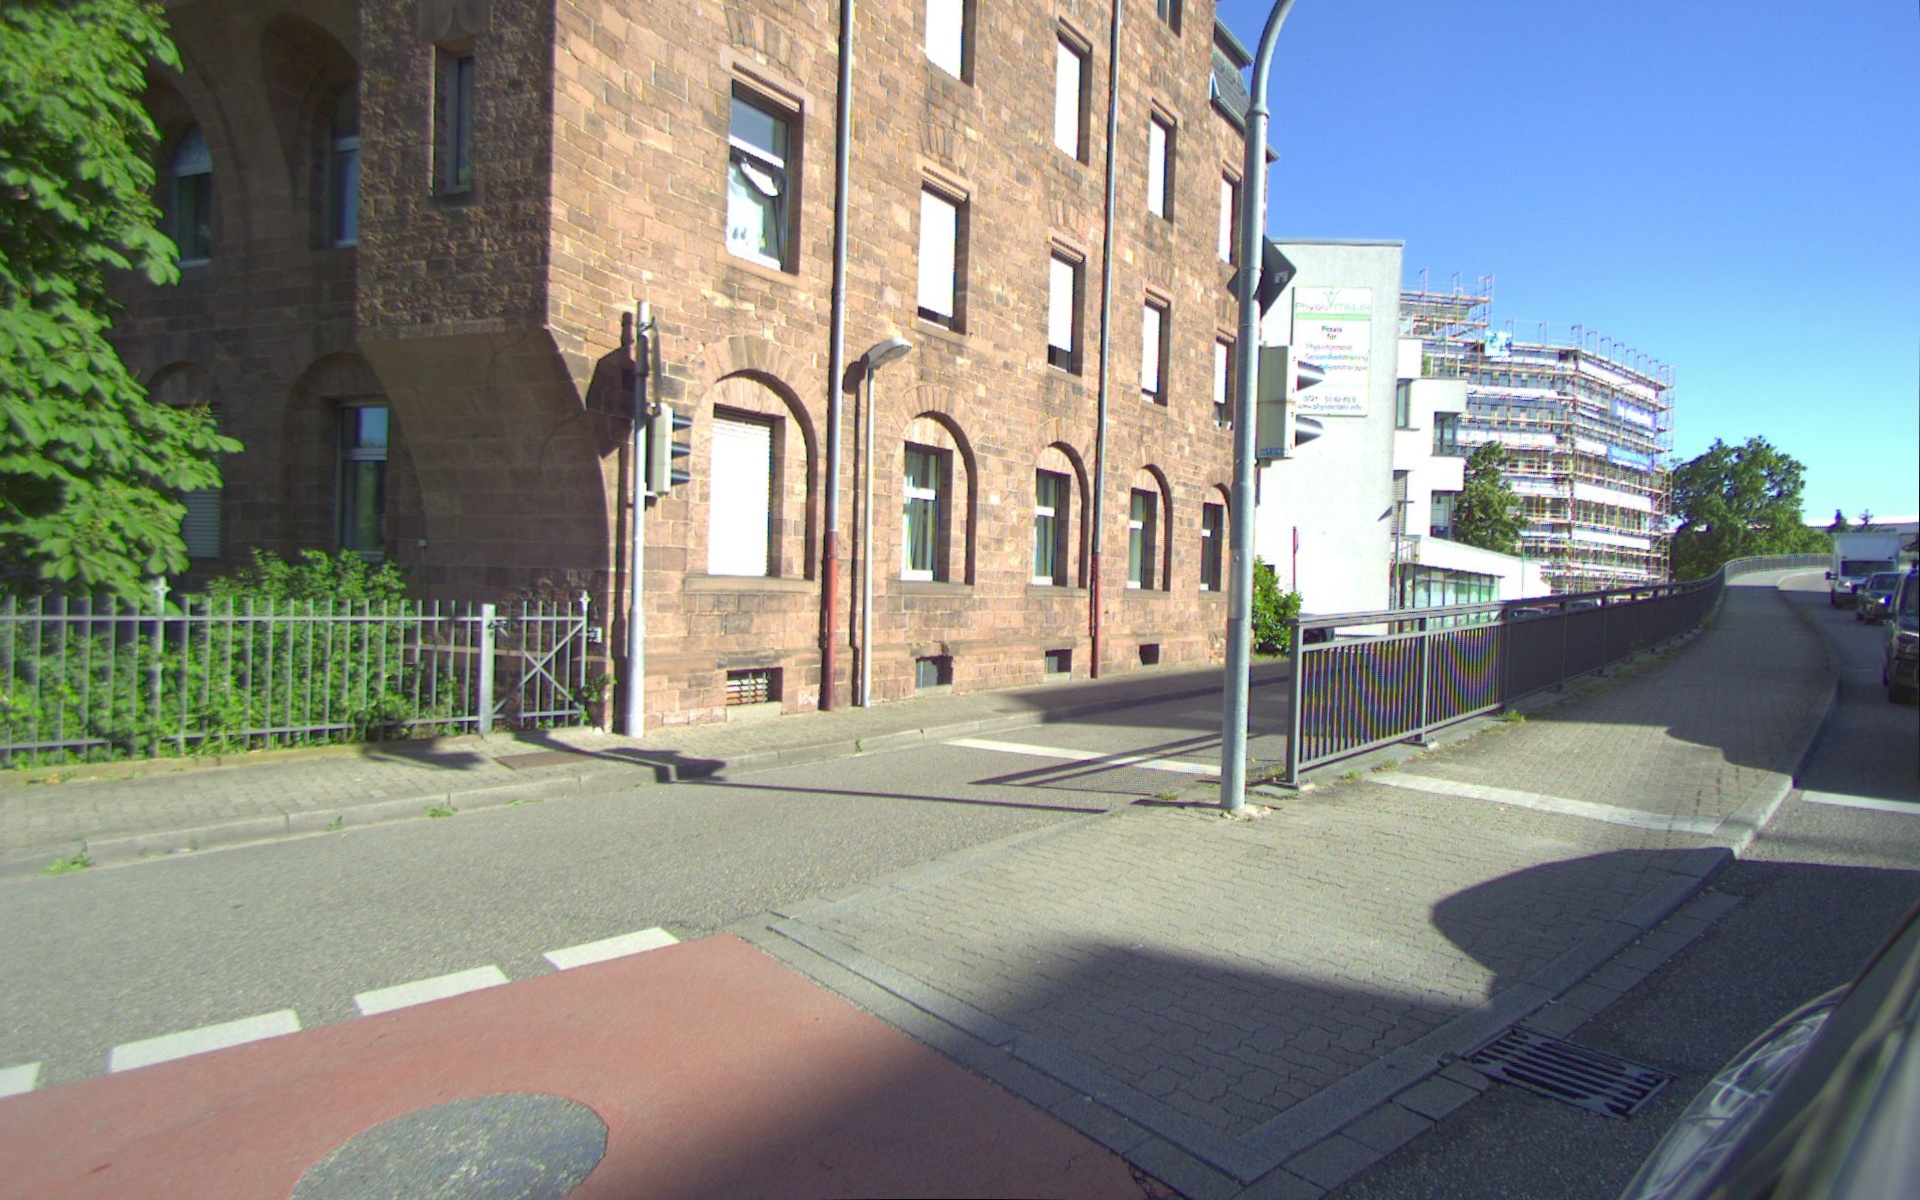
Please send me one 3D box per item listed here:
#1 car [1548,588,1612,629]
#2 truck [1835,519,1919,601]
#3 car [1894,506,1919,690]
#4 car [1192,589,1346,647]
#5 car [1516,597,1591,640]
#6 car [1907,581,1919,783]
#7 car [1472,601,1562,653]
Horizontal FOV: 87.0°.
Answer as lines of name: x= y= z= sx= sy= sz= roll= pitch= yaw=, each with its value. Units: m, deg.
car: x=27.627 y=0.384 z=45.041 sx=2.043 sy=1.707 sz=4.037 roll=2 pitch=0 yaw=37
truck: x=39.217 y=-1.611 z=43.381 sx=2.495 sy=3.167 sz=6.855 roll=2 pitch=1 yaw=41
car: x=14.089 y=0.033 z=13.792 sx=1.945 sy=2.290 sz=4.710 roll=2 pitch=1 yaw=43
car: x=9.129 y=0.516 z=30.185 sx=4.020 sy=1.551 sz=1.917 roll=2 pitch=0 yaw=5
car: x=23.123 y=0.699 z=39.378 sx=2.043 sy=1.551 sz=4.037 roll=2 pitch=0 yaw=37
car: x=9.300 y=0.625 z=8.498 sx=1.875 sy=1.489 sz=4.562 roll=3 pitch=2 yaw=44
car: x=18.599 y=0.871 z=33.714 sx=2.043 sy=1.551 sz=4.036 roll=2 pitch=0 yaw=38
